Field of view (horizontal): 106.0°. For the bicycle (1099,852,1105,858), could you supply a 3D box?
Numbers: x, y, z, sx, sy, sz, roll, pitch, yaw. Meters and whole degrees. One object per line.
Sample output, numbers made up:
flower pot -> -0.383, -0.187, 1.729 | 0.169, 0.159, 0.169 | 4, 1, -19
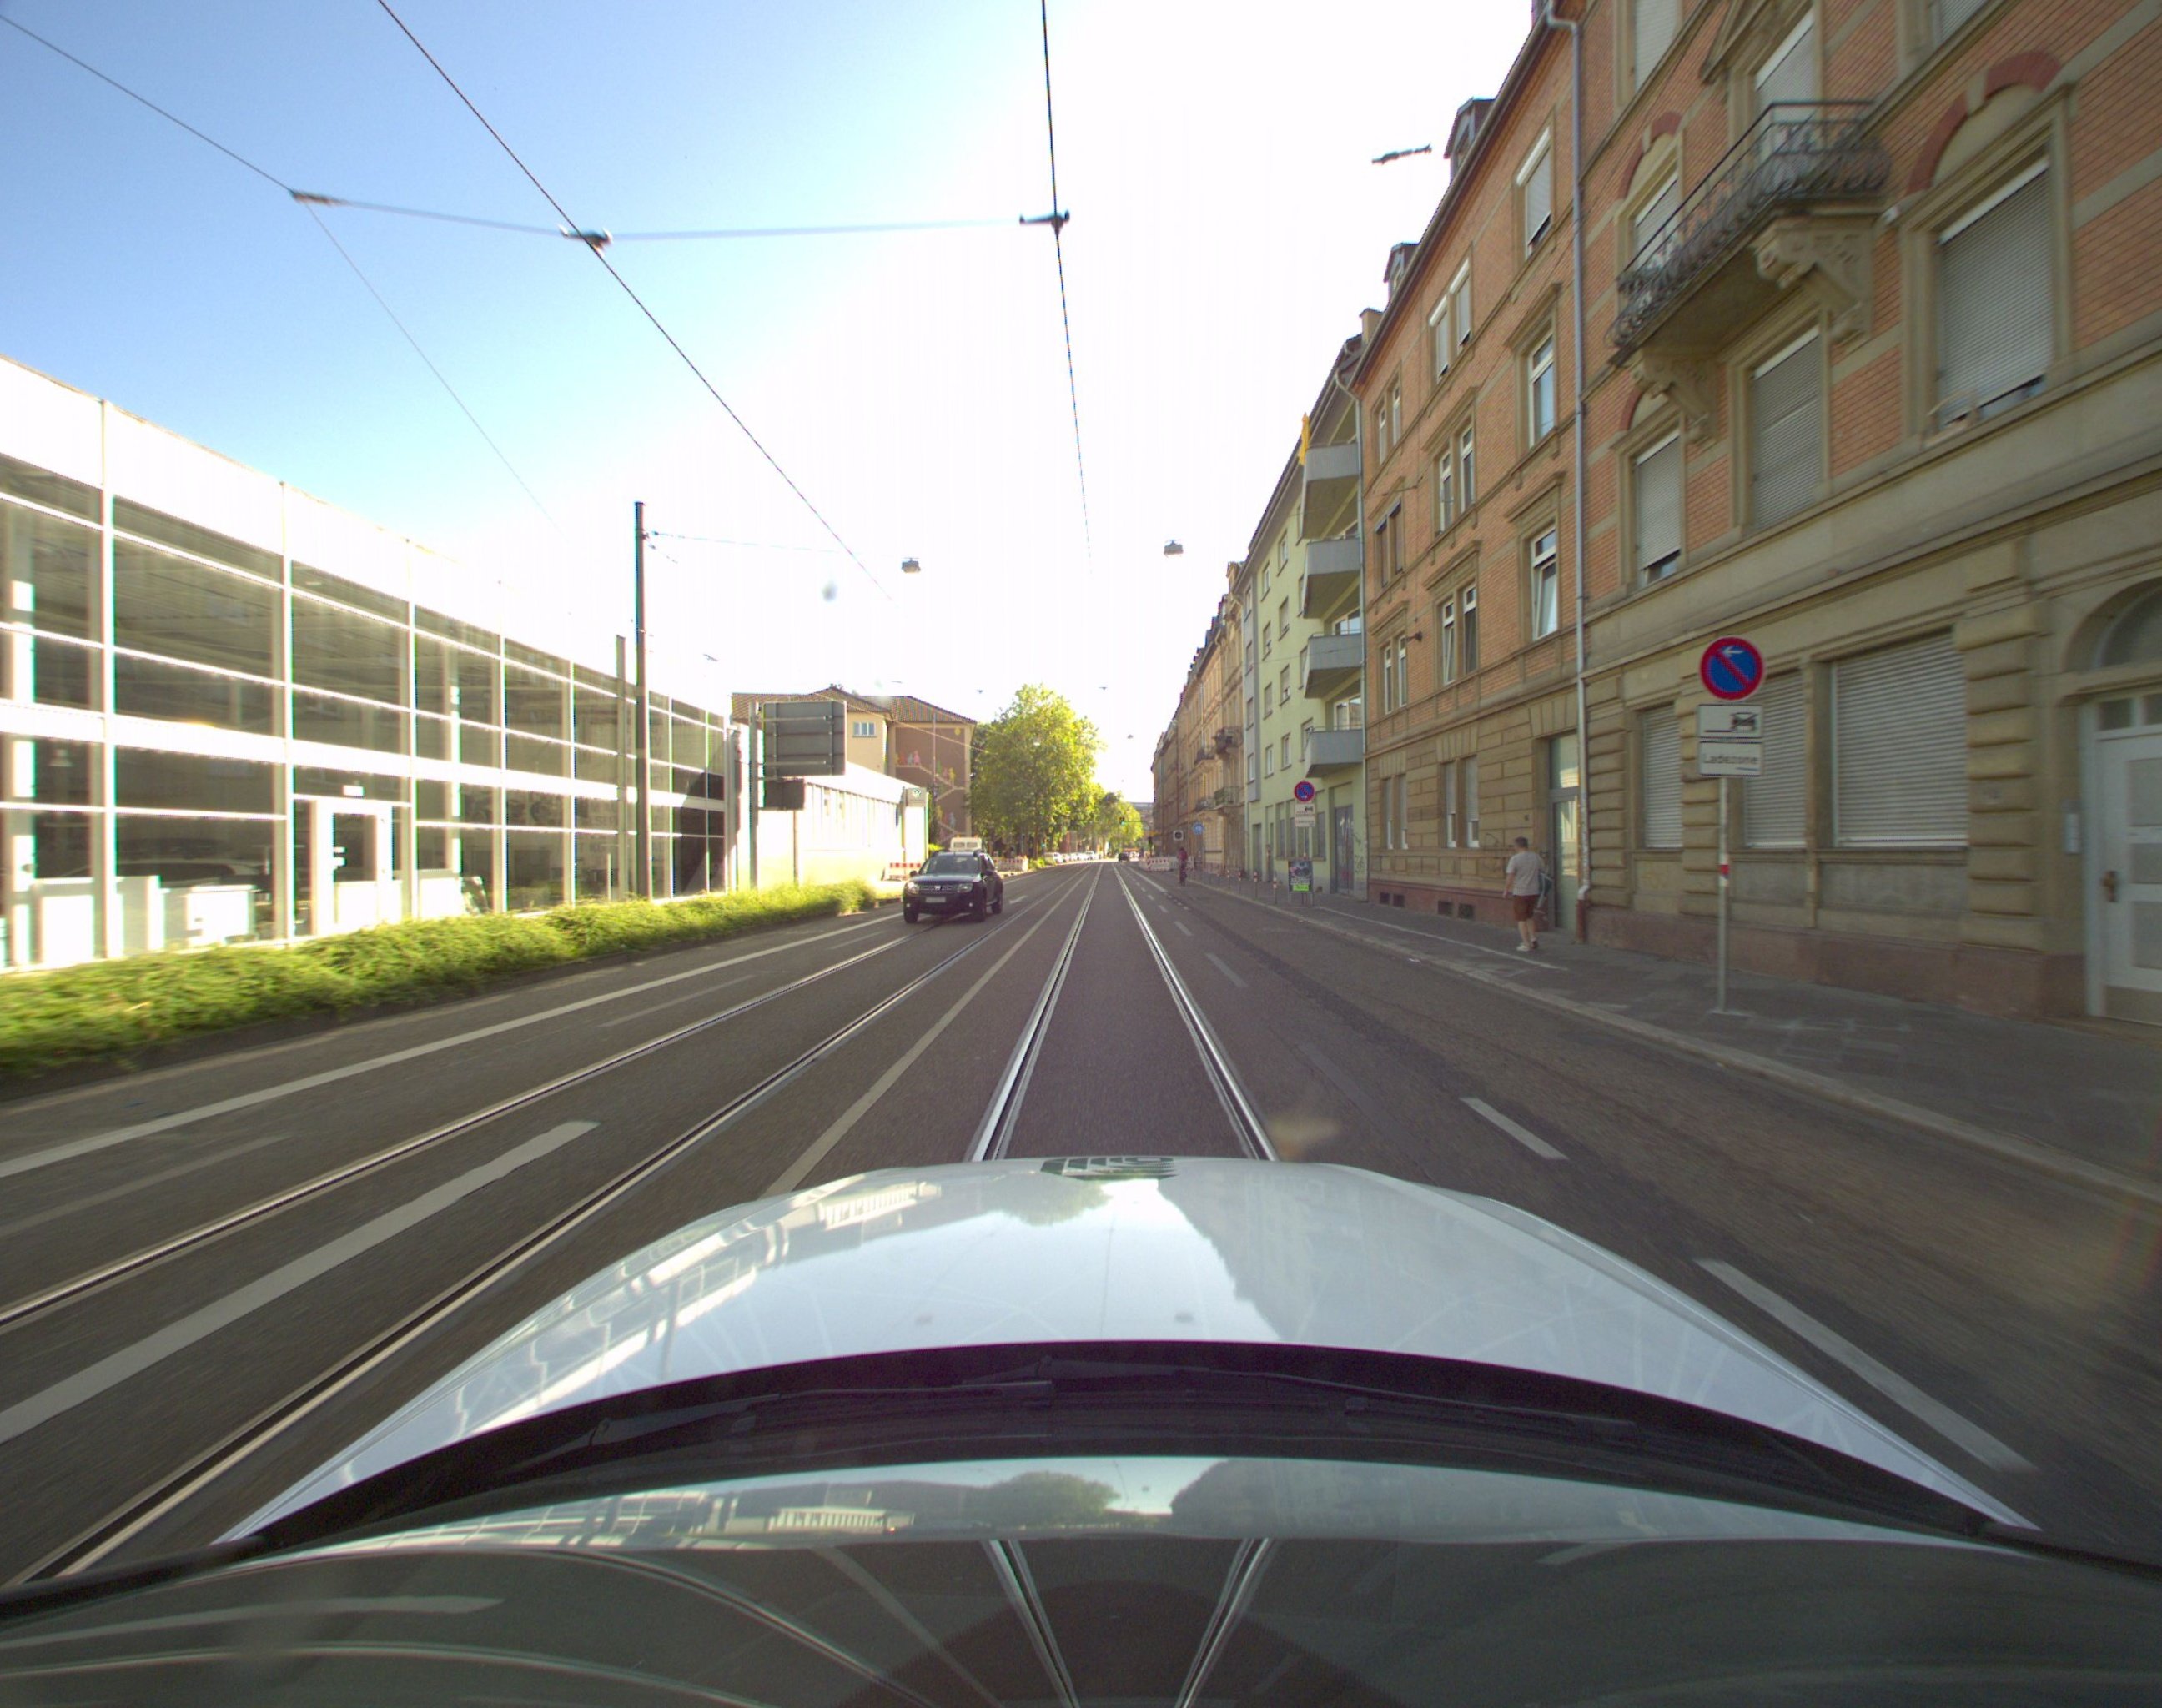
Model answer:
bicycle -> 5.492, 0.325, 212.213 | 1.227, 1.572, 2.904 | 1, 0, 9

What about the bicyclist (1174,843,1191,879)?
bicyclist -> 4.900, 0.337, 39.310 | 0.664, 1.697, 1.043 | 1, -1, 1

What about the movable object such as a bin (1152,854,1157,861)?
movable object such as a bin -> 10.566, 0.545, 117.348 | 0.671, 1.036, 0.814 | 0, 1, 2

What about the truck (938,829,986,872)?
truck -> -8.338, -0.227, 57.676 | 2.531, 2.830, 6.371 | 1, 0, -2

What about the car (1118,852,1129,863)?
car -> 7.711, 0.673, 147.629 | 1.986, 2.014, 4.002 | 1, 0, 2

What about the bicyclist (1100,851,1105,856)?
bicyclist -> 5.525, -0.098, 212.179 | 1.071, 1.427, 1.149 | 1, -1, 10

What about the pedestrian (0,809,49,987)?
pedestrian -> -11.021, 0.431, 7.930 | 0.525, 1.765, 1.051 | 1, -1, 2

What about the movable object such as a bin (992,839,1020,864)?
movable object such as a bin -> -8.105, -0.265, 88.739 | 2.488, 2.645, 5.987 | 1, 0, -1

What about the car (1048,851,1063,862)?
car -> -3.789, 0.342, 122.956 | 1.740, 1.608, 4.048 | 1, 0, 5

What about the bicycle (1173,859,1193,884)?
bicycle -> 4.877, 0.818, 39.021 | 0.678, 1.114, 2.708 | 1, 0, 2

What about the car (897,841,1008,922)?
car -> -2.954, 0.608, 19.571 | 1.751, 1.697, 4.147 | 1, 0, 3

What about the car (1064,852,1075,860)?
car -> -2.217, 0.382, 161.427 | 1.740, 1.495, 4.048 | 1, 0, 5

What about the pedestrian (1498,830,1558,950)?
pedestrian -> 6.575, 0.521, 11.997 | 0.551, 1.701, 0.474 | -2, -1, 1
